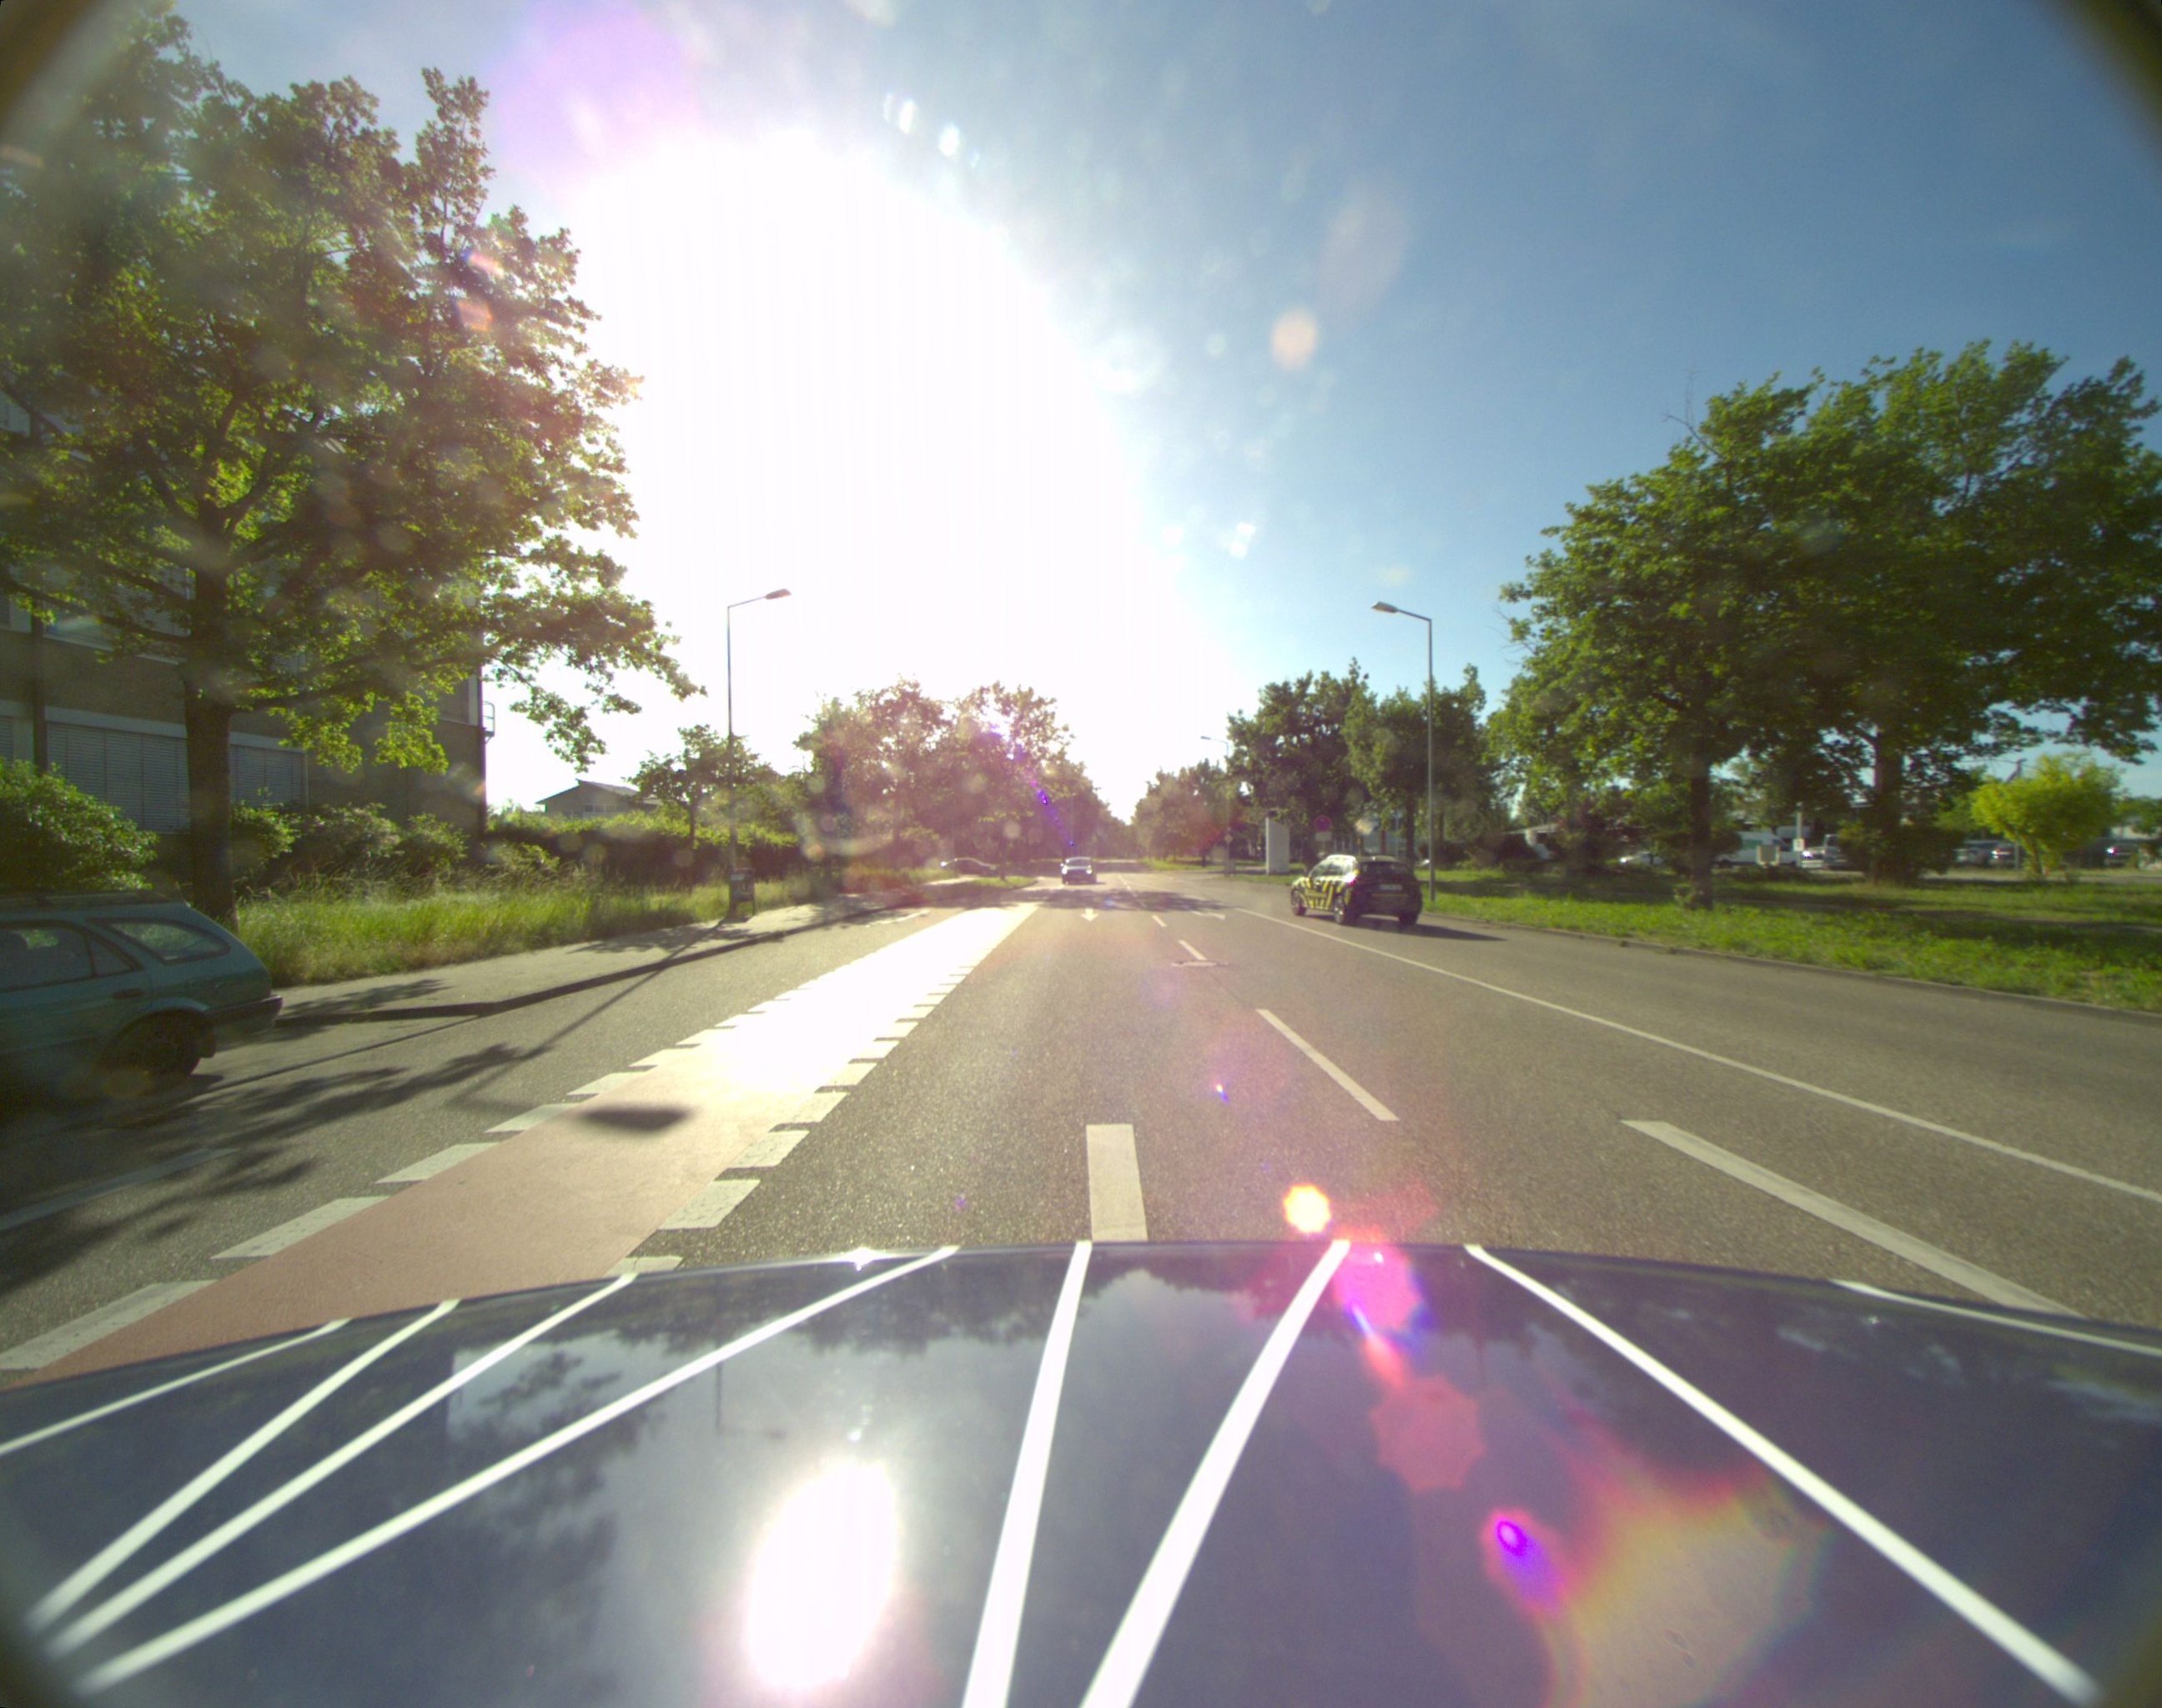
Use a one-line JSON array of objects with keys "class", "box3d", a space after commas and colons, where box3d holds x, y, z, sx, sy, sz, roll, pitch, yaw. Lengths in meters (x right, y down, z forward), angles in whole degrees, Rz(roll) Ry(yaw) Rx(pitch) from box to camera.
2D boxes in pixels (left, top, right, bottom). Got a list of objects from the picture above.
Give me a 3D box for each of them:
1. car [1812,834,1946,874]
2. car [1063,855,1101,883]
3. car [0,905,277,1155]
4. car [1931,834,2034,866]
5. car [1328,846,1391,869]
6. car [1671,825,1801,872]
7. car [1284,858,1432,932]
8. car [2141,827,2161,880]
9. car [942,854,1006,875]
[{"class": "car", "box3d": [40.062, -0.010, 38.212, 4.642, 1.771, 1.990, -2, 1, 0]}, {"class": "car", "box3d": [0.106, 0.804, 42.772, 1.652, 1.460, 3.943, -2, 0, 7]}, {"class": "car", "box3d": [-7.525, 1.129, 4.213, 1.706, 1.460, 4.141, -1, -1, 0]}, {"class": "car", "box3d": [52.090, -0.212, 43.951, 3.860, 1.661, 1.762, -2, 1, 0]}, {"class": "car", "box3d": [23.931, 0.293, 65.362, 4.637, 1.822, 2.000, -2, 1, 0]}, {"class": "car", "box3d": [39.901, -0.343, 46.389, 6.023, 2.540, 2.409, -2, 1, -4]}, {"class": "car", "box3d": [6.403, 0.884, 18.084, 1.768, 1.517, 4.078, 0, 0, -4]}, {"class": "car", "box3d": [33.888, -0.090, 22.031, 3.817, 1.562, 1.736, -2, -1, 0]}, {"class": "car", "box3d": [-8.292, 0.815, 58.875, 4.481, 1.510, 1.898, 0, 1, 12]}]
